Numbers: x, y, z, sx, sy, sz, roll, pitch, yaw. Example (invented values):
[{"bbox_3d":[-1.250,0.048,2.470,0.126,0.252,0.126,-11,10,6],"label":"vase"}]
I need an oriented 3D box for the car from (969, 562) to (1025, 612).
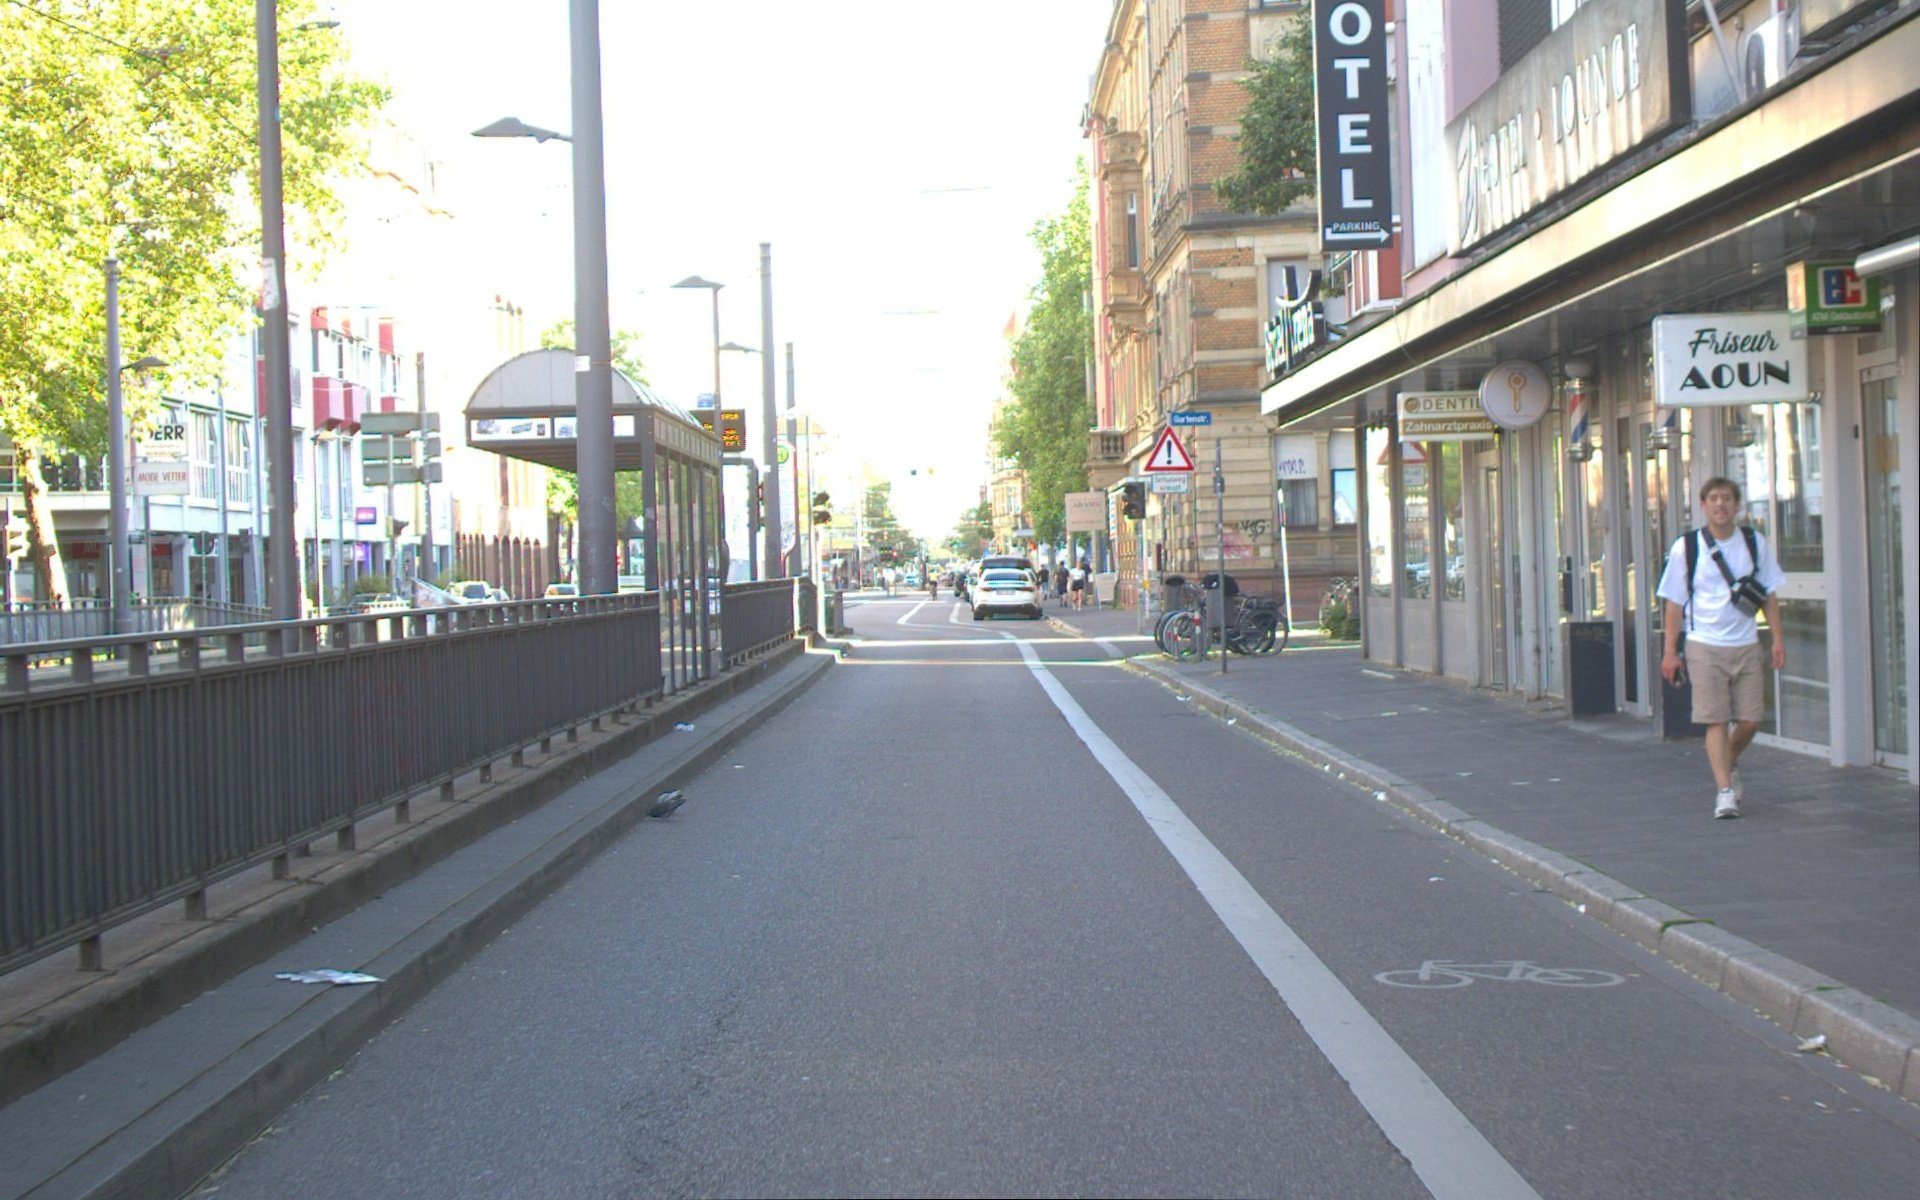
[{"bbox_3d":[1.358,-0.477,128.056,1.949,1.782,5.181,0,0,-1],"label":"car"}]

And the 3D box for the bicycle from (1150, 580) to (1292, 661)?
[{"bbox_3d":[3.794,0.294,50.106,1.970,1.101,0.614,-2,1,-3],"label":"bicycle"}]

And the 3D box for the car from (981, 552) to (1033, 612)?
[{"bbox_3d":[1.696,-0.621,122.672,1.705,2.112,3.706,0,0,3],"label":"car"}]

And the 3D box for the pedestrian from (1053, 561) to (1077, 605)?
[{"bbox_3d":[3.879,-0.633,127.215,0.776,1.561,0.913,-4,0,1],"label":"pedestrian"}]

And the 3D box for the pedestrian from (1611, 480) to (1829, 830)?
[{"bbox_3d":[3.950,0.279,17.945,0.798,1.716,1.061,-4,0,1],"label":"pedestrian"}]

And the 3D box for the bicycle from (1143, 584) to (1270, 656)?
[{"bbox_3d":[3.759,0.299,52.511,1.833,1.050,0.710,-1,0,-3],"label":"bicycle"}]

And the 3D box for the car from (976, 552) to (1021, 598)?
[{"bbox_3d":[1.778,-1.146,157.702,1.971,2.007,4.558,-3,0,1],"label":"car"}]

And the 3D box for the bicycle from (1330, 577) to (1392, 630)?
[{"bbox_3d":[7.892,0.057,67.777,0.417,1.021,1.908,-1,1,-19],"label":"bicycle"}]

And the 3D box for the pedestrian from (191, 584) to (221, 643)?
[{"bbox_3d":[-22.369,0.400,101.949,0.743,1.706,0.616,-1,0,-4],"label":"pedestrian"}]

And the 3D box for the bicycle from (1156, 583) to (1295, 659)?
[{"bbox_3d":[3.815,0.295,49.449,1.913,1.044,0.681,-1,0,-3],"label":"bicycle"}]

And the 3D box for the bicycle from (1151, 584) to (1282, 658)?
[{"bbox_3d":[3.784,0.310,50.836,1.833,1.050,0.718,-1,0,-3],"label":"bicycle"}]

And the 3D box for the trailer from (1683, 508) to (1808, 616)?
[{"bbox_3d":[13.566,-0.627,59.259,1.968,1.726,3.930,-2,-1,14],"label":"trailer"}]

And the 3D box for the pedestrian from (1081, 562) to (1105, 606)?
[{"bbox_3d":[4.920,-0.610,127.118,0.776,1.561,0.913,-4,0,1],"label":"pedestrian"}]

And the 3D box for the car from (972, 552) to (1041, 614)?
[{"bbox_3d":[1.354,-0.490,99.854,1.966,1.765,4.875,0,0,1],"label":"car"}]

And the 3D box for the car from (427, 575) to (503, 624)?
[{"bbox_3d":[-17.797,0.012,123.754,2.090,1.707,4.819,0,-1,-1],"label":"car"}]

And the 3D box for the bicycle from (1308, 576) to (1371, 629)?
[{"bbox_3d":[7.482,0.047,67.781,0.451,1.021,1.908,-1,1,-19],"label":"bicycle"}]

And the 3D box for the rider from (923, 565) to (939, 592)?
[{"bbox_3d":[-1.611,-1.207,191.419,0.883,1.476,0.713,1,0,1],"label":"rider"}]
